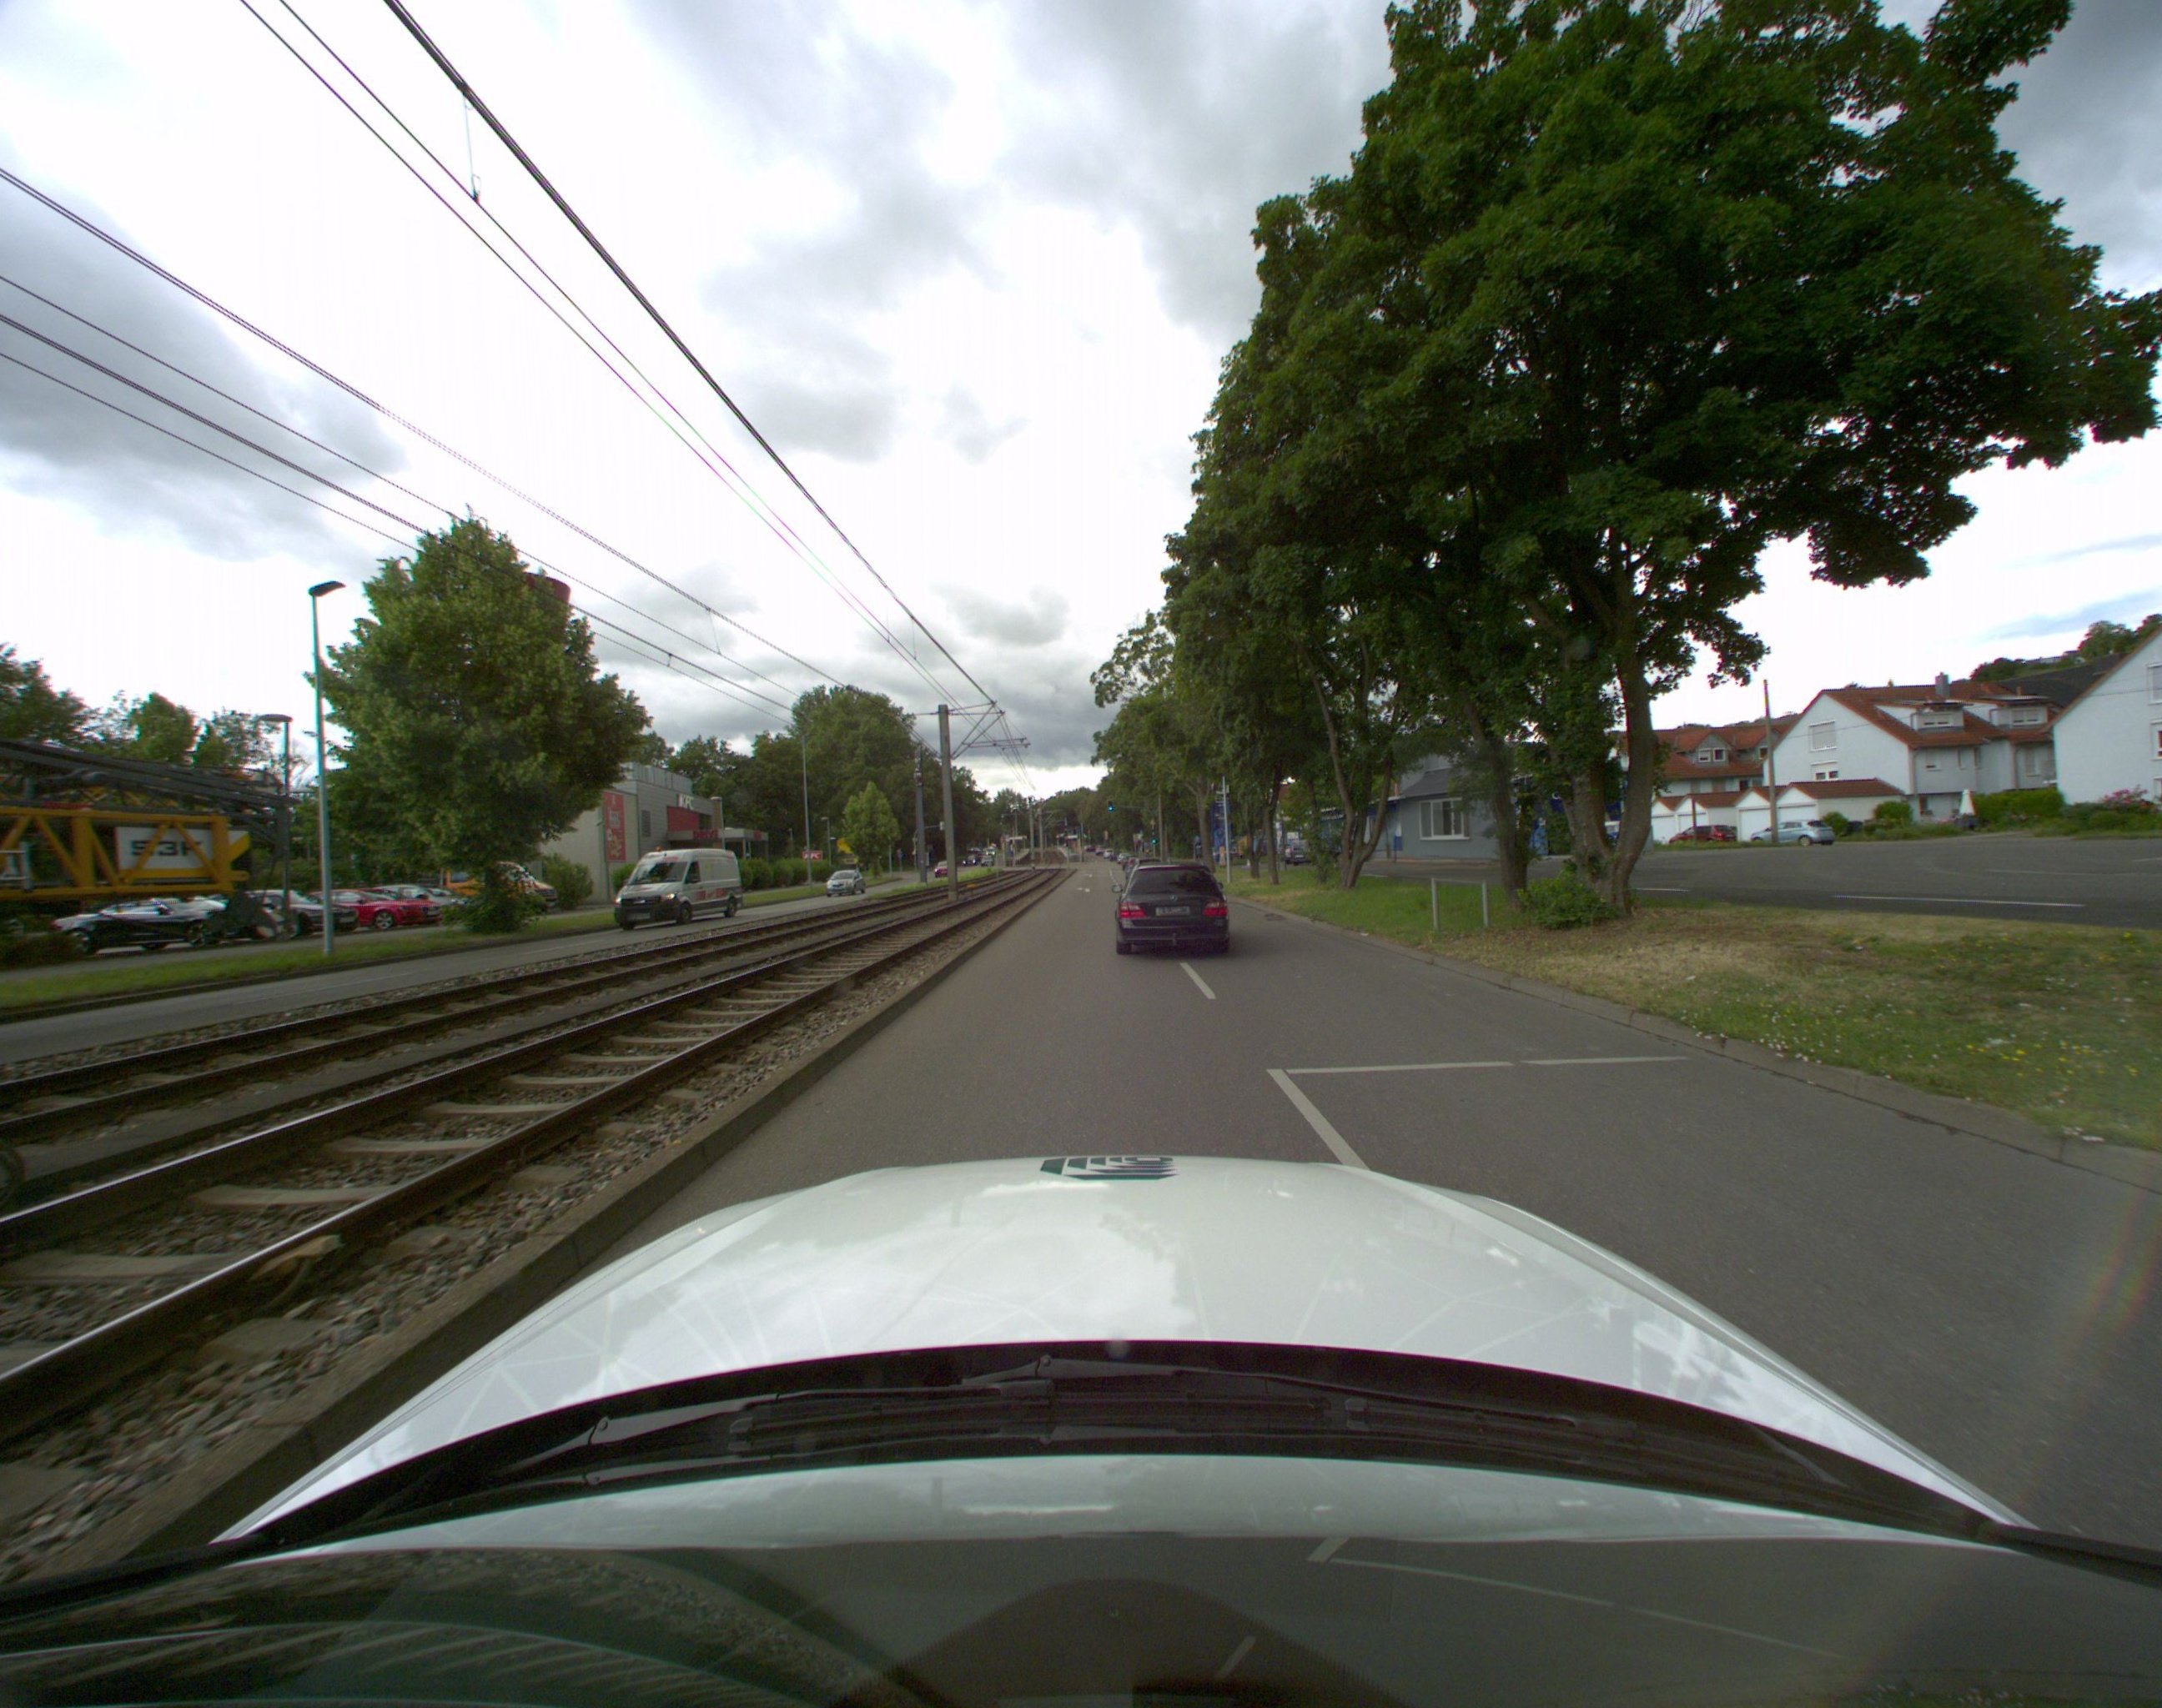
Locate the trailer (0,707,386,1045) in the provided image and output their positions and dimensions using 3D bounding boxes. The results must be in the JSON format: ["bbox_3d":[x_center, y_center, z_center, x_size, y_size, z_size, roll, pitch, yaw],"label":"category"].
[{"bbox_3d":[-13.810,0.302,7.166,2.662,3.897,14.426,-4,-1,1],"label":"trailer"}]

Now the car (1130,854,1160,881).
[{"bbox_3d":[3.970,0.818,51.104,1.774,1.648,4.003,0,-1,3],"label":"car"}]

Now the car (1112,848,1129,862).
[{"bbox_3d":[5.533,0.150,115.464,1.989,1.966,3.995,0,-1,-3],"label":"car"}]

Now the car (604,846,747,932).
[{"bbox_3d":[-13.656,1.083,27.949,1.864,2.499,5.995,-4,0,-2],"label":"car"}]

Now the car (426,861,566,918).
[{"bbox_3d":[-22.896,1.353,32.000,3.974,2.165,2.058,0,-1,0],"label":"car"}]

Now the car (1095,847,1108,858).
[{"bbox_3d":[3.778,-0.227,150.391,1.991,2.014,3.991,0,-1,-7],"label":"car"}]

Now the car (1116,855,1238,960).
[{"bbox_3d":[1.521,0.795,13.897,1.774,1.525,4.003,0,-1,3],"label":"car"}]

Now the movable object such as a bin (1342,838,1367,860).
[{"bbox_3d":[19.619,-0.336,58.415,1.156,1.474,1.386,-3,-1,-3],"label":"movable object such as a bin"}]

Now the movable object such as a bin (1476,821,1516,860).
[{"bbox_3d":[20.716,-0.656,40.692,1.156,1.818,1.454,-3,-1,-3],"label":"movable object such as a bin"}]

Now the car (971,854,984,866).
[{"bbox_3d":[-19.479,1.158,153.673,1.989,2.013,4.102,-3,0,-3],"label":"car"}]

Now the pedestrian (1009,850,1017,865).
[{"bbox_3d":[-10.118,0.580,120.928,0.967,2.186,0.975,-2,0,-1],"label":"pedestrian"}]

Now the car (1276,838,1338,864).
[{"bbox_3d":[17.360,-0.245,62.568,4.210,1.697,1.829,-3,0,-17],"label":"car"}]

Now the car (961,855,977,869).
[{"bbox_3d":[-17.275,1.298,125.850,1.989,2.013,4.242,-3,0,-3],"label":"car"}]

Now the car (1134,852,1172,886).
[{"bbox_3d":[3.561,0.731,40.898,1.774,1.648,4.003,0,-1,3],"label":"car"}]

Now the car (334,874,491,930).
[{"bbox_3d":[-24.024,1.698,29.386,3.974,1.918,2.000,0,-1,0],"label":"car"}]

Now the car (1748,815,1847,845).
[{"bbox_3d":[41.344,-1.365,47.089,1.783,1.575,3.979,0,-1,-16],"label":"car"}]

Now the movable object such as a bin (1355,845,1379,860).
[{"bbox_3d":[19.452,-0.086,55.420,1.156,0.976,1.187,-3,-1,-3],"label":"movable object such as a bin"}]

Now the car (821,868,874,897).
[{"bbox_3d":[-14.244,1.718,49.895,1.988,1.482,3.999,-5,0,0],"label":"car"}]

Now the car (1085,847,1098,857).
[{"bbox_3d":[2.293,-0.455,176.699,1.994,2.014,3.985,0,-1,-11],"label":"car"}]

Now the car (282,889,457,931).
[{"bbox_3d":[-23.358,1.829,26.873,3.974,1.236,2.000,0,-1,0],"label":"car"}]

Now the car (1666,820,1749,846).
[{"bbox_3d":[40.281,-1.314,52.464,1.783,1.575,3.979,0,-1,-15],"label":"car"}]

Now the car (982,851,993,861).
[{"bbox_3d":[-20.327,0.466,176.412,1.989,2.013,4.102,-3,0,-3],"label":"car"}]

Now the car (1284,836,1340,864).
[{"bbox_3d":[16.676,-0.308,58.600,4.409,1.821,1.730,-3,0,-42],"label":"car"}]

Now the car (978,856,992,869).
[{"bbox_3d":[-13.658,1.244,115.827,1.693,1.860,3.996,0,-1,-3],"label":"car"}]

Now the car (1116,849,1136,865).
[{"bbox_3d":[5.394,0.359,98.235,1.989,1.893,3.995,0,-1,-3],"label":"car"}]

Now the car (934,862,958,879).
[{"bbox_3d":[-13.670,1.659,82.644,1.778,1.582,4.479,-4,-1,-2],"label":"car"}]

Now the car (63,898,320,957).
[{"bbox_3d":[-23.396,1.899,21.586,4.359,1.354,2.195,0,-1,0],"label":"car"}]

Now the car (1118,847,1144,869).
[{"bbox_3d":[4.616,0.361,75.291,1.989,1.918,3.995,0,-1,-3],"label":"car"}]

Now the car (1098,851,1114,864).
[{"bbox_3d":[4.015,0.601,131.979,1.991,2.014,3.990,0,-1,-7],"label":"car"}]

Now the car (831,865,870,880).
[{"bbox_3d":[-26.624,2.127,94.262,3.866,1.408,1.847,-3,0,0],"label":"car"}]

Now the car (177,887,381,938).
[{"bbox_3d":[-23.789,1.704,24.289,3.974,1.367,2.093,0,-1,0],"label":"car"}]
